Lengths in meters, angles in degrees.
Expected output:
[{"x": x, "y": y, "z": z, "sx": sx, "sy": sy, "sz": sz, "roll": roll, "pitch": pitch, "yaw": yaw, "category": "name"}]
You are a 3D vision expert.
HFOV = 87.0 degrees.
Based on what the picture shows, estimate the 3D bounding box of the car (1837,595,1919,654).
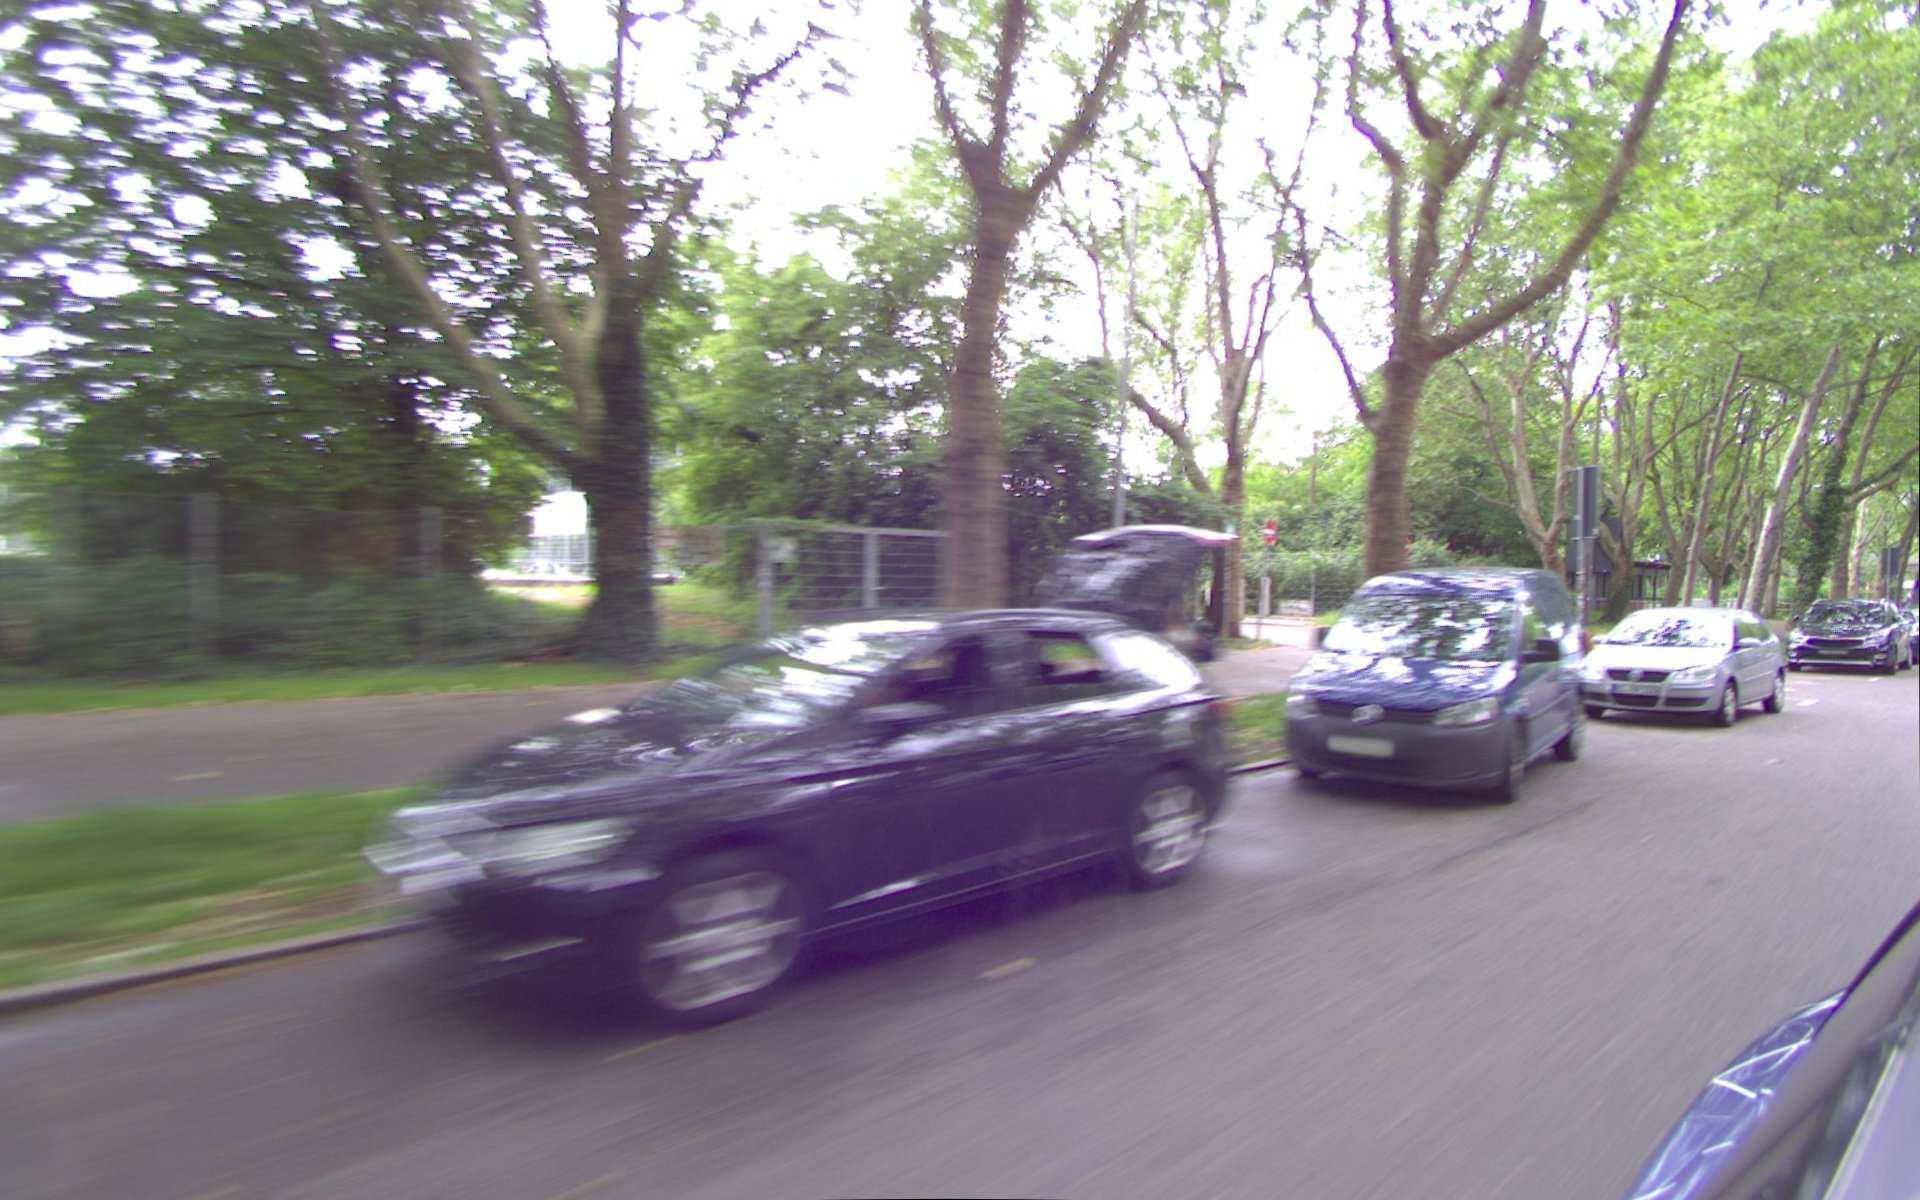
[{"x": 24.491, "y": 0.594, "z": 26.434, "sx": 4.211, "sy": 1.436, "sz": 1.779, "roll": 0, "pitch": -1, "yaw": -41, "category": "car"}]

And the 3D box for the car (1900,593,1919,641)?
[{"x": 33.418, "y": 0.565, "z": 34.375, "sx": 4.321, "sy": 1.573, "sz": 1.779, "roll": 0, "pitch": -1, "yaw": -42, "category": "car"}]

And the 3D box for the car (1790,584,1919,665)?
[{"x": 20.019, "y": 0.488, "z": 22.439, "sx": 4.390, "sy": 1.623, "sz": 1.831, "roll": 0, "pitch": -1, "yaw": -42, "category": "car"}]

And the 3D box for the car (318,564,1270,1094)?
[{"x": -0.519, "y": 0.630, "z": 5.035, "sx": 4.295, "sy": 1.497, "sz": 1.997, "roll": 0, "pitch": 0, "yaw": -41, "category": "car"}]

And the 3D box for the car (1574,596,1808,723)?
[{"x": 9.934, "y": 0.699, "z": 13.658, "sx": 3.875, "sy": 1.480, "sz": 1.622, "roll": 0, "pitch": -1, "yaw": -39, "category": "car"}]

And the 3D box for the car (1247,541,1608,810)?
[{"x": 4.384, "y": 0.511, "z": 9.083, "sx": 1.840, "sy": 1.805, "sz": 4.382, "roll": -1, "pitch": -1, "yaw": 40, "category": "car"}]

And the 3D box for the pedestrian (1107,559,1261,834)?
[{"x": 1.447, "y": 0.569, "z": 6.544, "sx": 0.729, "sy": 1.647, "sz": 0.634, "roll": 0, "pitch": 1, "yaw": -41, "category": "pedestrian"}]
